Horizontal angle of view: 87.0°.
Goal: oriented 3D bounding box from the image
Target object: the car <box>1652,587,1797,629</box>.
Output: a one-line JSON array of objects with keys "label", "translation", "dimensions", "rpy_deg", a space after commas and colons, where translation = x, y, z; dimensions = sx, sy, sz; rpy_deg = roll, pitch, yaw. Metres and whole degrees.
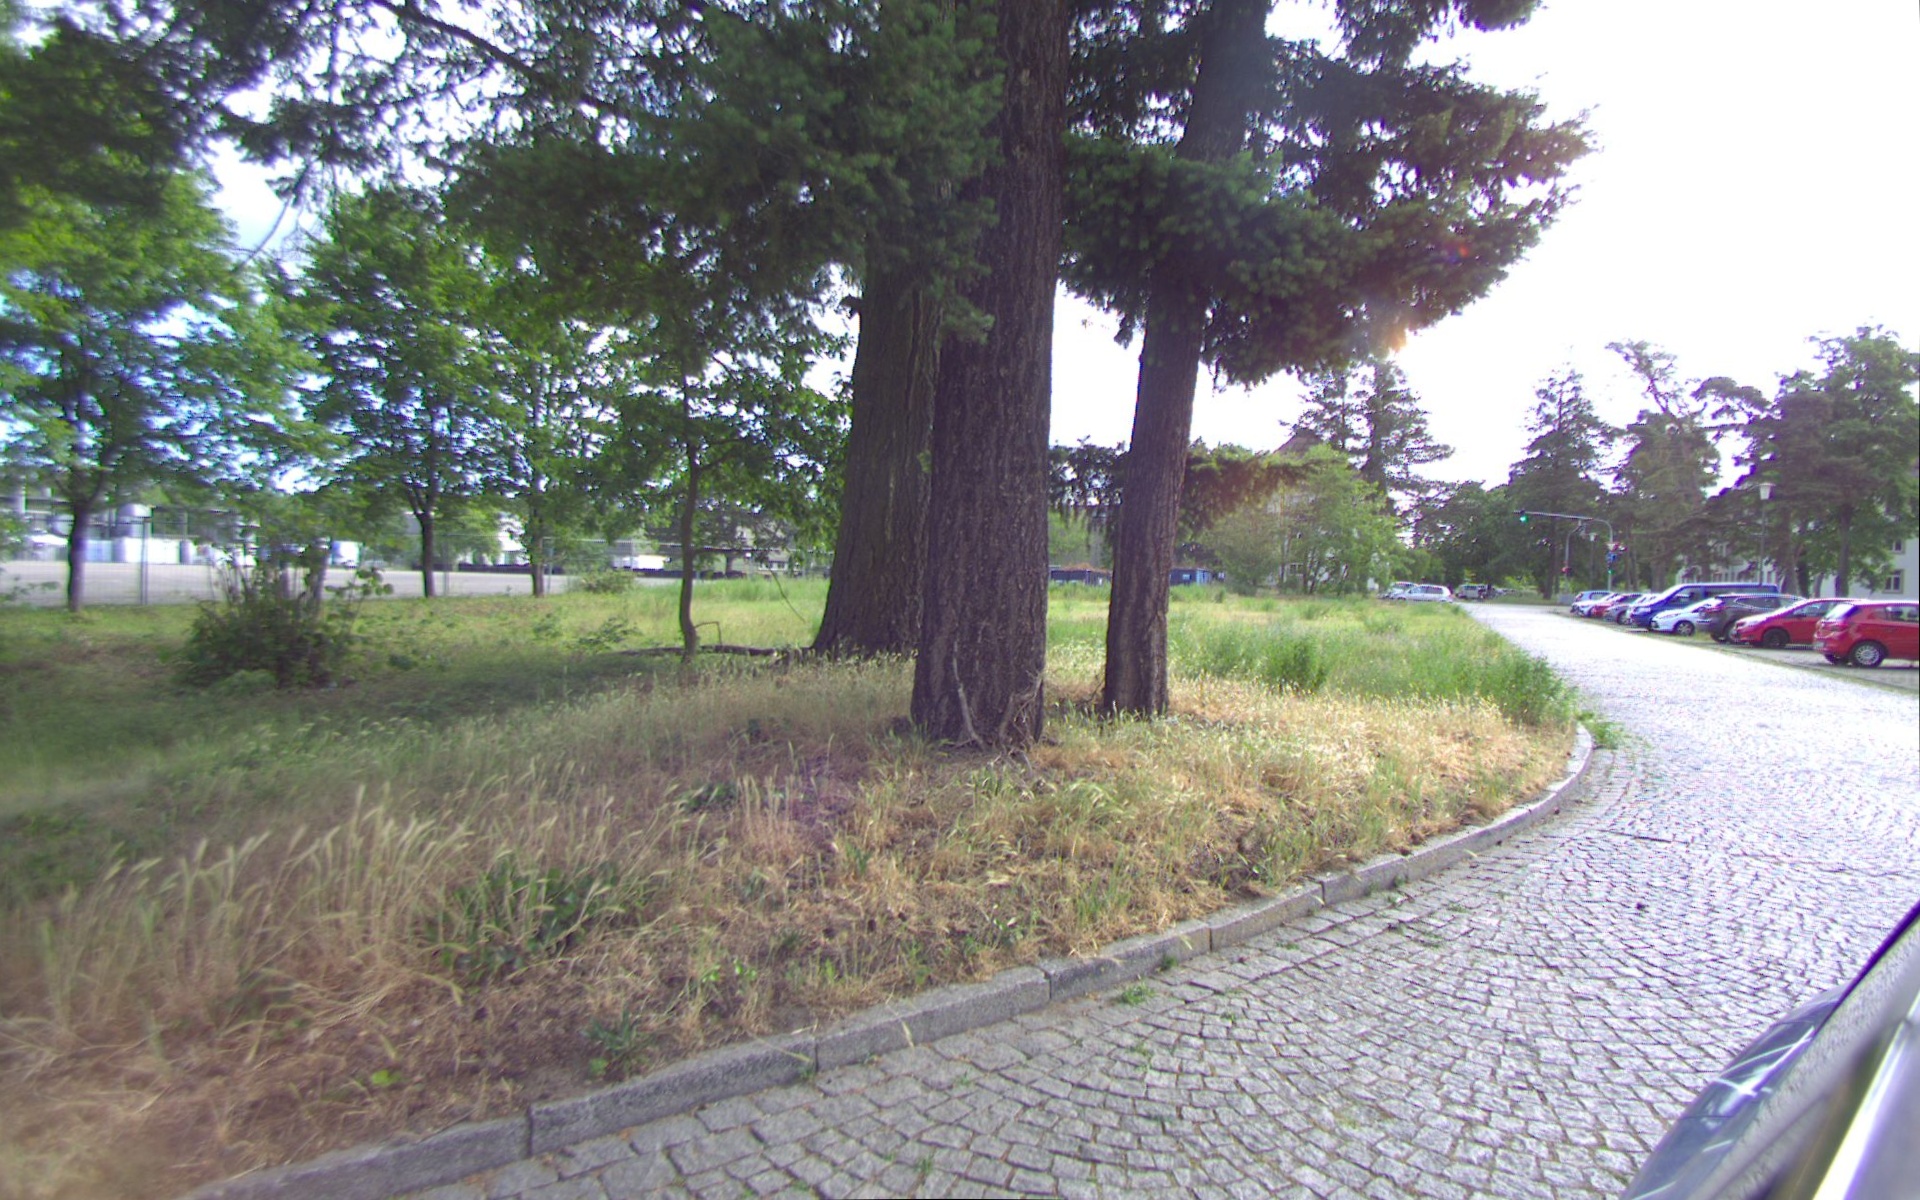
[{"label": "car", "translation": [27.932, 0.305, 37.121], "dimensions": [3.889, 1.410, 1.729], "rpy_deg": [-1, 1, 24]}]

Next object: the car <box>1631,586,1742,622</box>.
[{"label": "car", "translation": [31.716, 0.161, 44.294], "dimensions": [3.554, 1.472, 1.678], "rpy_deg": [-1, 1, 19]}]

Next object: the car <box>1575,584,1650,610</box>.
[{"label": "car", "translation": [39.188, -0.171, 60.865], "dimensions": [3.406, 1.450, 1.620], "rpy_deg": [-1, 1, 16]}]

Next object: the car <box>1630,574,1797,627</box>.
[{"label": "car", "translation": [29.145, 0.018, 39.372], "dimensions": [4.783, 1.889, 2.144], "rpy_deg": [-1, 1, 24]}]

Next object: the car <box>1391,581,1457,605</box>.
[{"label": "car", "translation": [29.480, -0.469, 64.416], "dimensions": [3.688, 1.455, 1.615], "rpy_deg": [0, 1, 22]}]

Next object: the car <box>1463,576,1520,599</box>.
[{"label": "car", "translation": [64.228, -1.564, 122.425], "dimensions": [5.727, 2.594, 2.752], "rpy_deg": [-1, 1, 21]}]

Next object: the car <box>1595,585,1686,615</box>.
[{"label": "car", "translation": [34.902, 0.015, 52.002], "dimensions": [3.526, 1.434, 1.629], "rpy_deg": [-1, 1, 19]}]

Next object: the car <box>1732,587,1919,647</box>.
[{"label": "car", "translation": [24.576, 0.450, 28.740], "dimensions": [3.914, 1.539, 1.692], "rpy_deg": [2, 1, 26]}]

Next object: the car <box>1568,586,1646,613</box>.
[{"label": "car", "translation": [37.471, -0.041, 58.659], "dimensions": [3.533, 1.476, 1.614], "rpy_deg": [-1, 1, 24]}]

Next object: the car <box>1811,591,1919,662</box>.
[{"label": "car", "translation": [21.218, 0.574, 21.964], "dimensions": [3.856, 1.497, 1.657], "rpy_deg": [1, 1, 26]}]

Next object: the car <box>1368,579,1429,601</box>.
[{"label": "car", "translation": [30.254, -0.717, 69.848], "dimensions": [3.682, 1.455, 1.617], "rpy_deg": [-1, 1, 18]}]

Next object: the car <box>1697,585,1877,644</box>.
[{"label": "car", "translation": [25.431, 0.410, 31.289], "dimensions": [3.875, 1.623, 1.807], "rpy_deg": [2, 1, 23]}]

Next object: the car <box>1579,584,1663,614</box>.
[{"label": "car", "translation": [36.530, -0.051, 56.024], "dimensions": [3.525, 1.506, 1.594], "rpy_deg": [-1, 1, 18]}]

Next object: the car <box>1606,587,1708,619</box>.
[{"label": "car", "translation": [32.275, 0.138, 46.963], "dimensions": [3.554, 1.438, 1.609], "rpy_deg": [0, 1, 19]}]

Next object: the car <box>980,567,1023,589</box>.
[{"label": "car", "translation": [4.074, -2.158, 99.516], "dimensions": [3.691, 1.928, 2.004], "rpy_deg": [2, 0, -15]}]

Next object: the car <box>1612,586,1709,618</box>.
[{"label": "car", "translation": [34.087, 0.078, 49.347], "dimensions": [3.526, 1.452, 1.597], "rpy_deg": [-1, 1, 19]}]
